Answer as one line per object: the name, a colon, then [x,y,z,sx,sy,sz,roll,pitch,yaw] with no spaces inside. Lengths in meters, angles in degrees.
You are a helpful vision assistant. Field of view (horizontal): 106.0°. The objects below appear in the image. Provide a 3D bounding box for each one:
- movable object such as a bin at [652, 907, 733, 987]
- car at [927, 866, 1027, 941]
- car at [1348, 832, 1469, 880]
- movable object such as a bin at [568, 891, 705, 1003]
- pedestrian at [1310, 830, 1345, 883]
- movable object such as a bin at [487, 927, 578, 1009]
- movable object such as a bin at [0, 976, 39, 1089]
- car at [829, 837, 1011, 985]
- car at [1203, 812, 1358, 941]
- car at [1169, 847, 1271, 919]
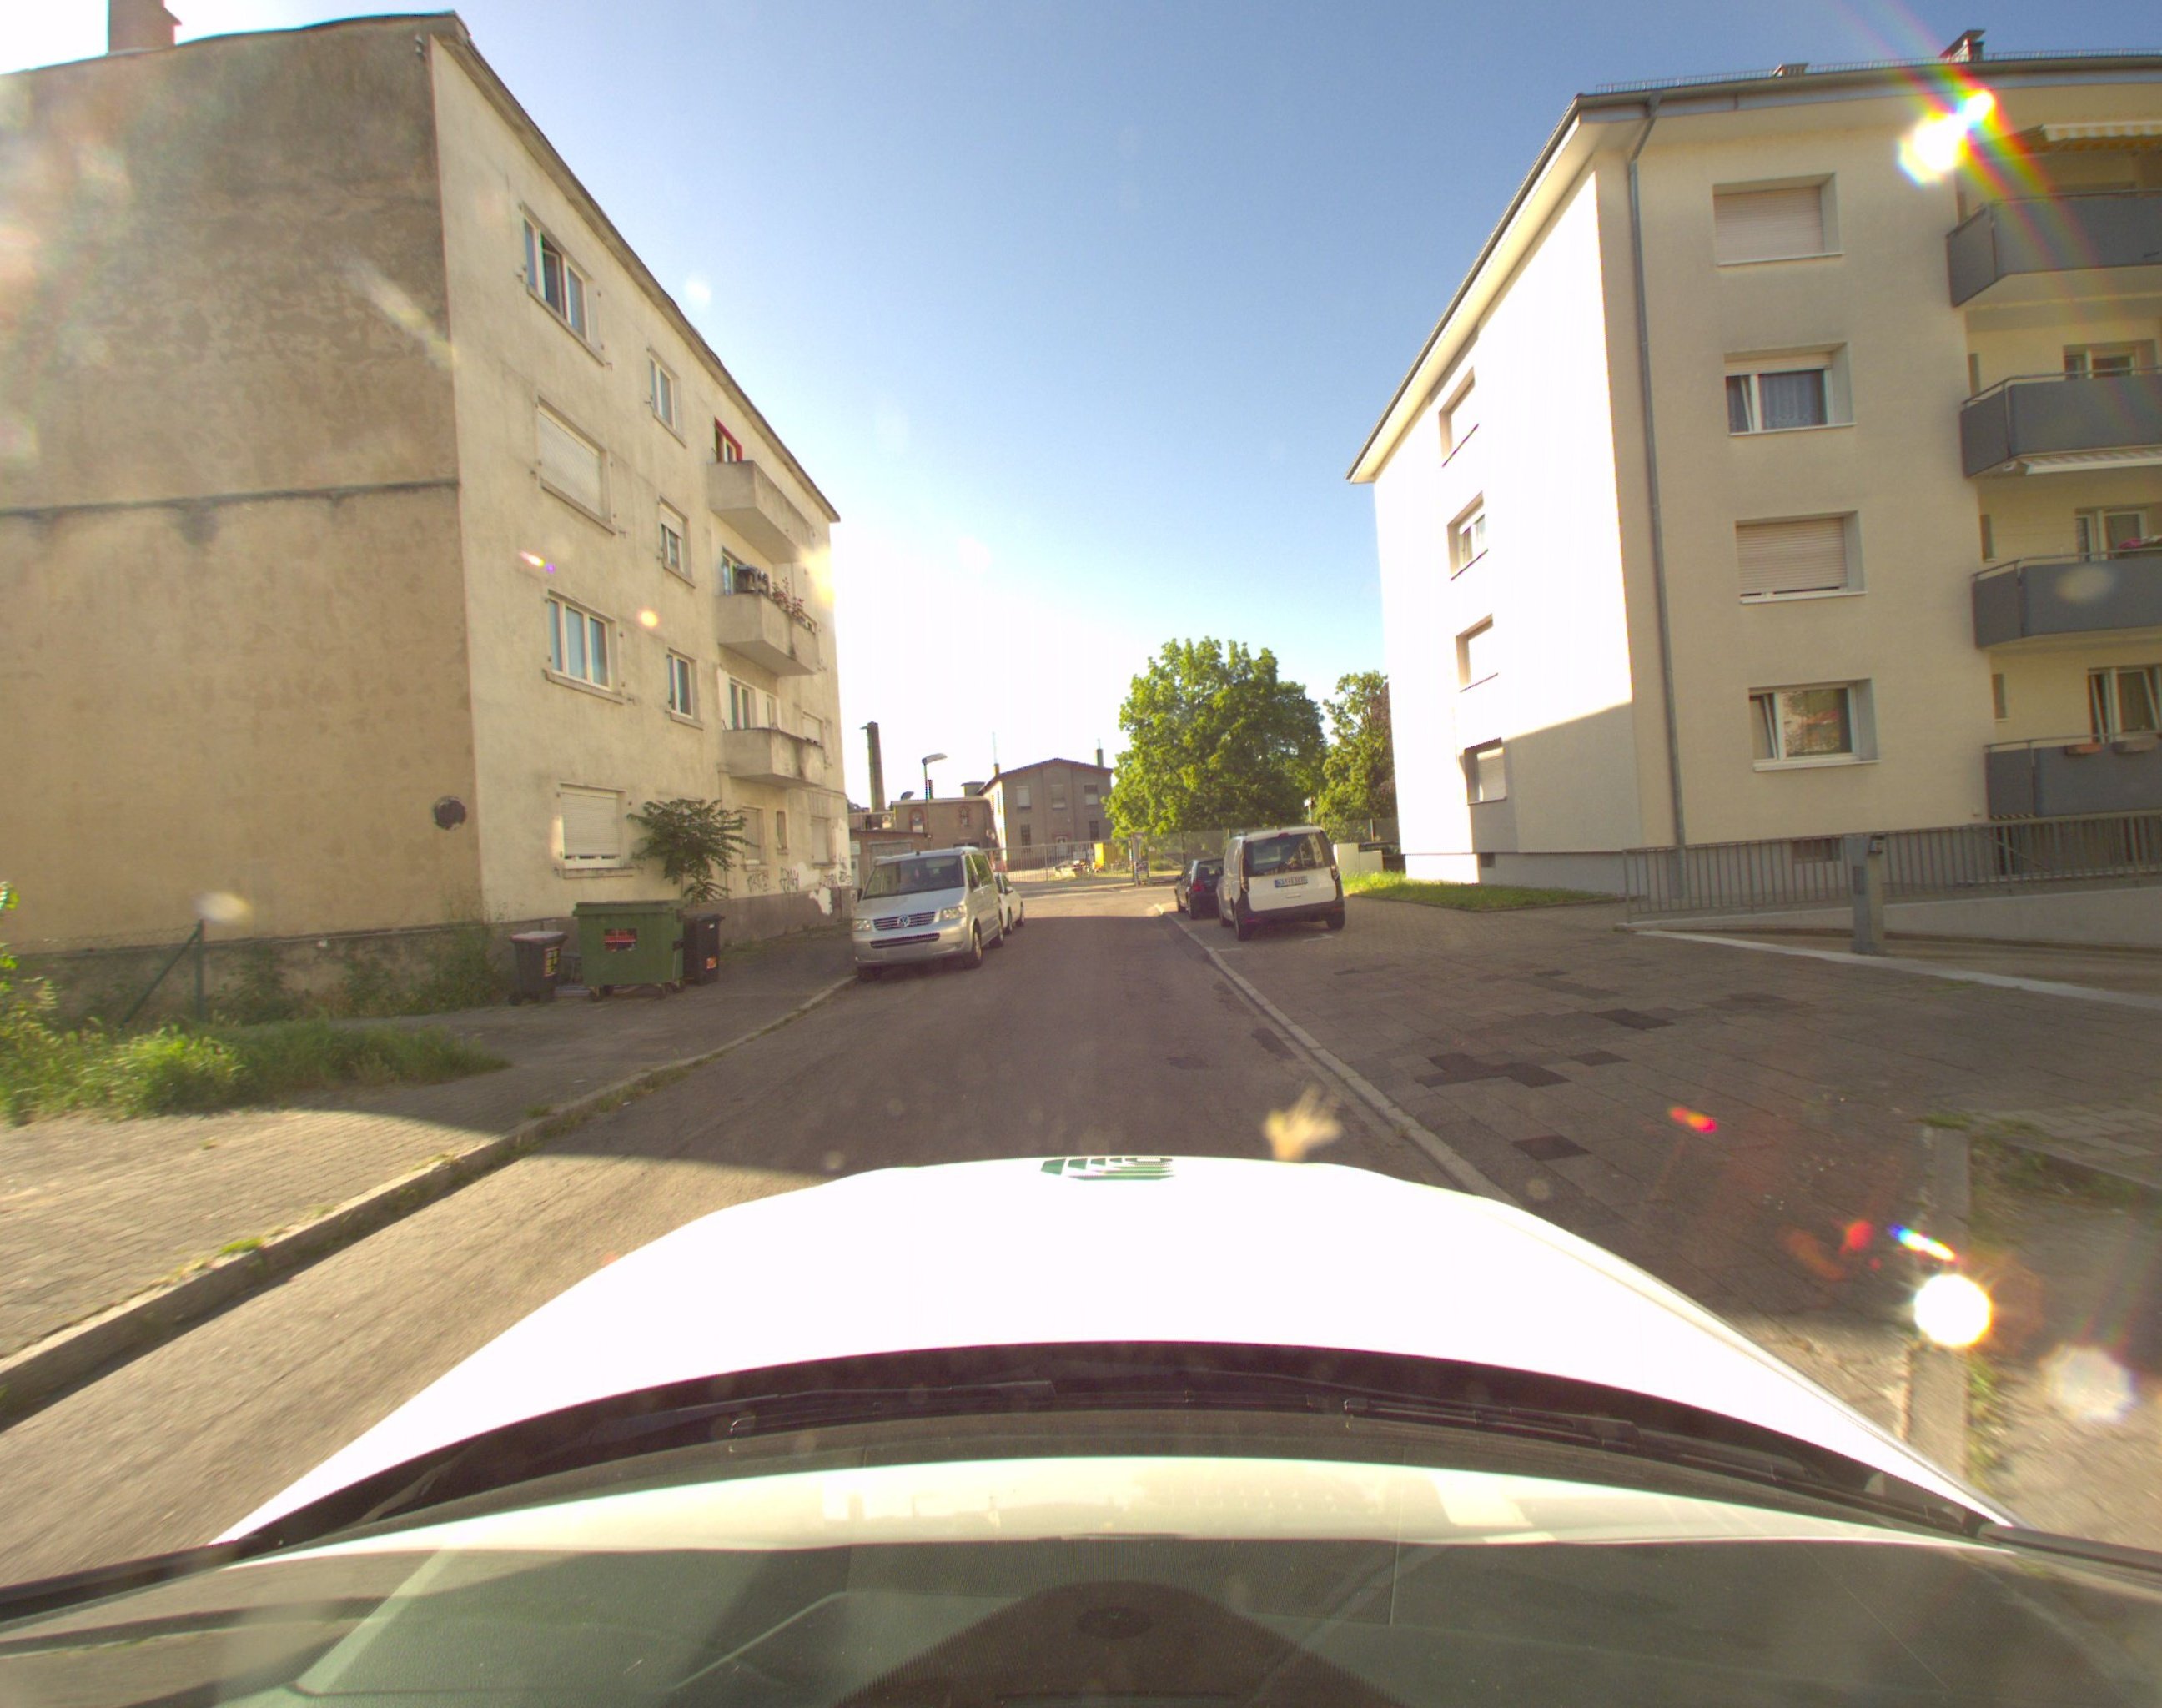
movable object such as a bin: [-5.842,1.389,12.294,0.770,1.079,0.816,-3,-1,1]
car: [-2.429,1.130,19.943,1.680,1.459,3.724,-6,-1,2]
car: [12.782,0.084,31.919,4.061,1.548,1.622,-4,-1,-2]
movable object such as a bin: [-6.124,1.252,11.307,1.251,1.376,1.045,-3,-1,1]
pedestrian: [8.641,0.088,28.530,0.843,1.771,0.641,-4,0,-27]
movable object such as a bin: [-7.357,1.518,10.954,0.770,0.974,0.592,-3,-1,1]
movable object such as a bin: [-10.505,1.693,7.141,1.125,0.999,1.204,-5,-1,1]
car: [-2.527,0.837,14.179,1.944,1.933,4.857,-6,-1,1]
car: [3.481,0.366,15.134,1.790,1.845,4.542,-7,-1,3]
car: [3.367,0.675,20.494,1.792,1.415,4.049,-7,-1,1]
